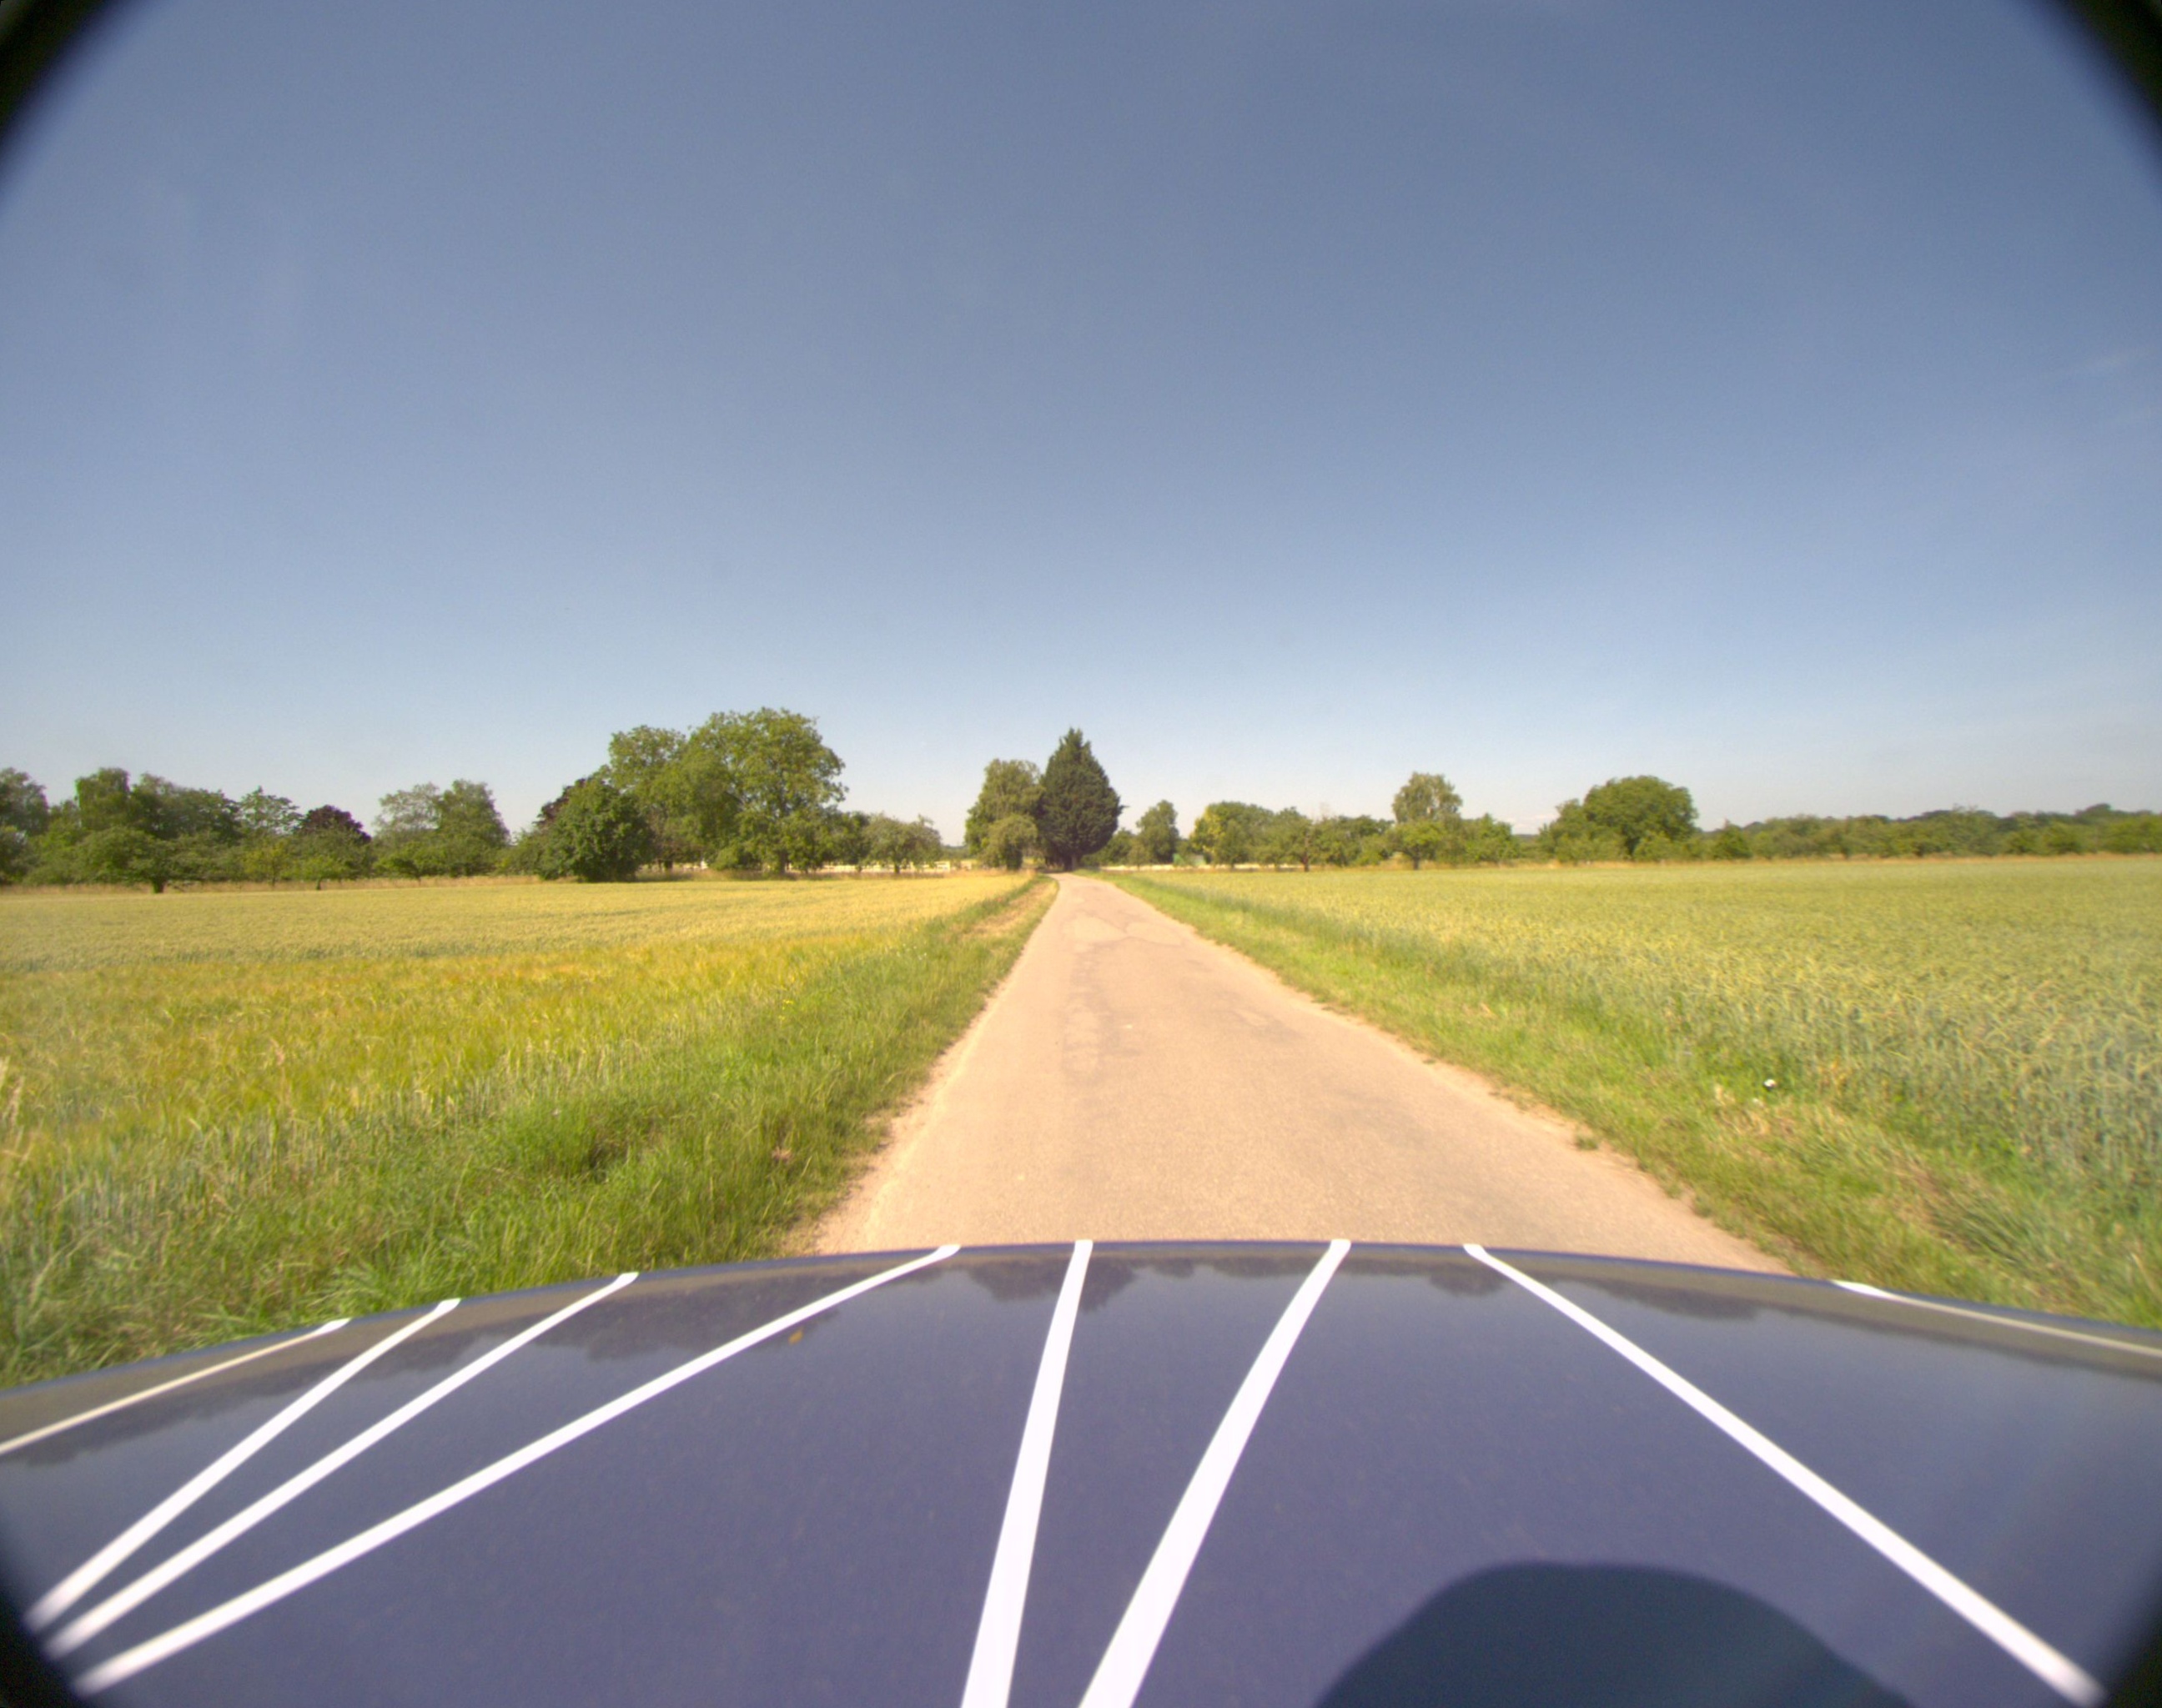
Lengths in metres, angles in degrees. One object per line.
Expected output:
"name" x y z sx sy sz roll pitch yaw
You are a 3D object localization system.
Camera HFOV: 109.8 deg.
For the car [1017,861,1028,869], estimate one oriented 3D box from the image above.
"car" -10.184 1.900 131.989 1.723 1.312 3.740 -1 0 -8
